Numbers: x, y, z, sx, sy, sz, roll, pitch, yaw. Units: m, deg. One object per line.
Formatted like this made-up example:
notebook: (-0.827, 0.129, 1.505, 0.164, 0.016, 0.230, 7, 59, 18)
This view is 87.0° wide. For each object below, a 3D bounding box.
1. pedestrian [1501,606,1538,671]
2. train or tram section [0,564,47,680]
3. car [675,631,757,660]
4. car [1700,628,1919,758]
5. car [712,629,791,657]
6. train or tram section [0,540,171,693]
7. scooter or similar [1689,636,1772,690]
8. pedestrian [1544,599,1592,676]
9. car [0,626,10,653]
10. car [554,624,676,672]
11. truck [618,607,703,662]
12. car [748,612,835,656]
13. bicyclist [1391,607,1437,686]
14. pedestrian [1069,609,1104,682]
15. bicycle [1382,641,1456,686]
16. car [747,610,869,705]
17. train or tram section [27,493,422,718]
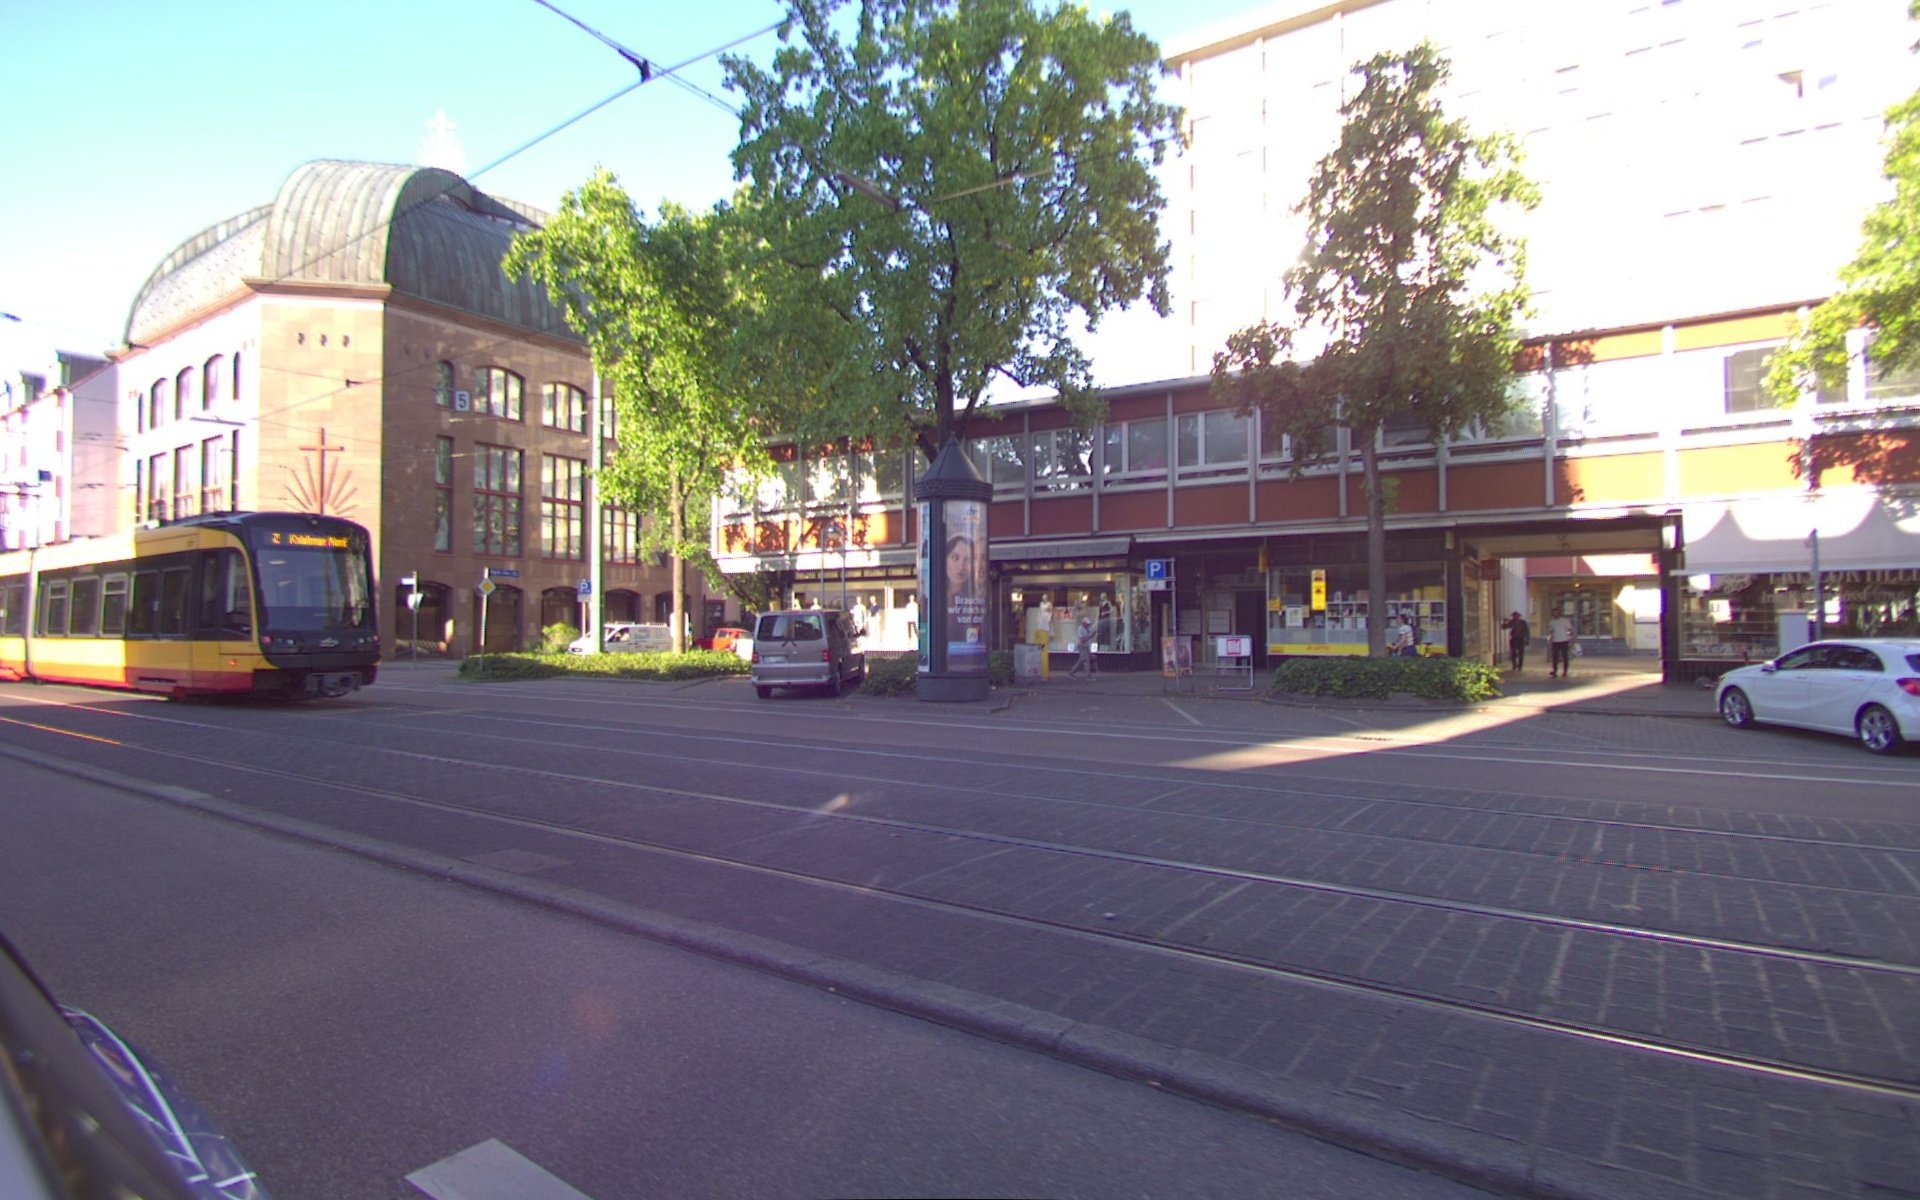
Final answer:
pedestrian: (16.520, 1.127, 29.905, 0.915, 1.892, 0.891, -1, -2, 29)
train or tram section: (-35.074, 0.773, 34.849, 12.440, 3.578, 2.734, -1, -3, 36)
car: (-13.613, 2.524, 56.458, 4.515, 1.585, 1.836, -1, -2, 32)
car: (12.535, 1.171, 13.962, 1.744, 1.440, 4.263, -1, 0, 5)
car: (-12.126, 2.503, 58.814, 4.515, 1.585, 1.836, -1, -2, 32)
train or tram section: (-25.475, 0.510, 27.983, 11.102, 3.578, 2.652, -1, -3, 36)
scooter or similar: (16.115, 1.309, 21.197, 1.334, 1.102, 0.470, -1, -1, 34)
pedestrian: (15.787, 0.972, 26.262, 0.993, 1.963, 0.890, -2, -3, 33)
car: (-62.128, 2.520, 64.065, 4.549, 1.713, 1.943, -1, -1, 34)
car: (-15.636, 2.127, 46.118, 2.127, 1.982, 4.938, 2, 0, 33)
truck: (-15.925, 1.838, 53.766, 4.515, 2.784, 1.836, -1, -2, 32)
car: (-10.183, 2.064, 61.139, 5.398, 2.562, 1.835, -2, -2, 33)
bicyclist: (10.667, 1.087, 23.794, 0.818, 1.836, 0.490, -1, -2, 10)
pedestrian: (3.365, 1.213, 27.016, 0.889, 1.892, 0.918, 0, -2, 5)
bicycle: (10.757, 1.493, 23.765, 1.480, 1.033, 0.491, -1, -2, 10)
car: (-3.468, 1.249, 24.054, 1.830, 1.943, 5.116, 0, 0, 4)
train or tram section: (-15.739, 0.229, 20.954, 12.813, 3.578, 2.652, -1, -3, 36)
